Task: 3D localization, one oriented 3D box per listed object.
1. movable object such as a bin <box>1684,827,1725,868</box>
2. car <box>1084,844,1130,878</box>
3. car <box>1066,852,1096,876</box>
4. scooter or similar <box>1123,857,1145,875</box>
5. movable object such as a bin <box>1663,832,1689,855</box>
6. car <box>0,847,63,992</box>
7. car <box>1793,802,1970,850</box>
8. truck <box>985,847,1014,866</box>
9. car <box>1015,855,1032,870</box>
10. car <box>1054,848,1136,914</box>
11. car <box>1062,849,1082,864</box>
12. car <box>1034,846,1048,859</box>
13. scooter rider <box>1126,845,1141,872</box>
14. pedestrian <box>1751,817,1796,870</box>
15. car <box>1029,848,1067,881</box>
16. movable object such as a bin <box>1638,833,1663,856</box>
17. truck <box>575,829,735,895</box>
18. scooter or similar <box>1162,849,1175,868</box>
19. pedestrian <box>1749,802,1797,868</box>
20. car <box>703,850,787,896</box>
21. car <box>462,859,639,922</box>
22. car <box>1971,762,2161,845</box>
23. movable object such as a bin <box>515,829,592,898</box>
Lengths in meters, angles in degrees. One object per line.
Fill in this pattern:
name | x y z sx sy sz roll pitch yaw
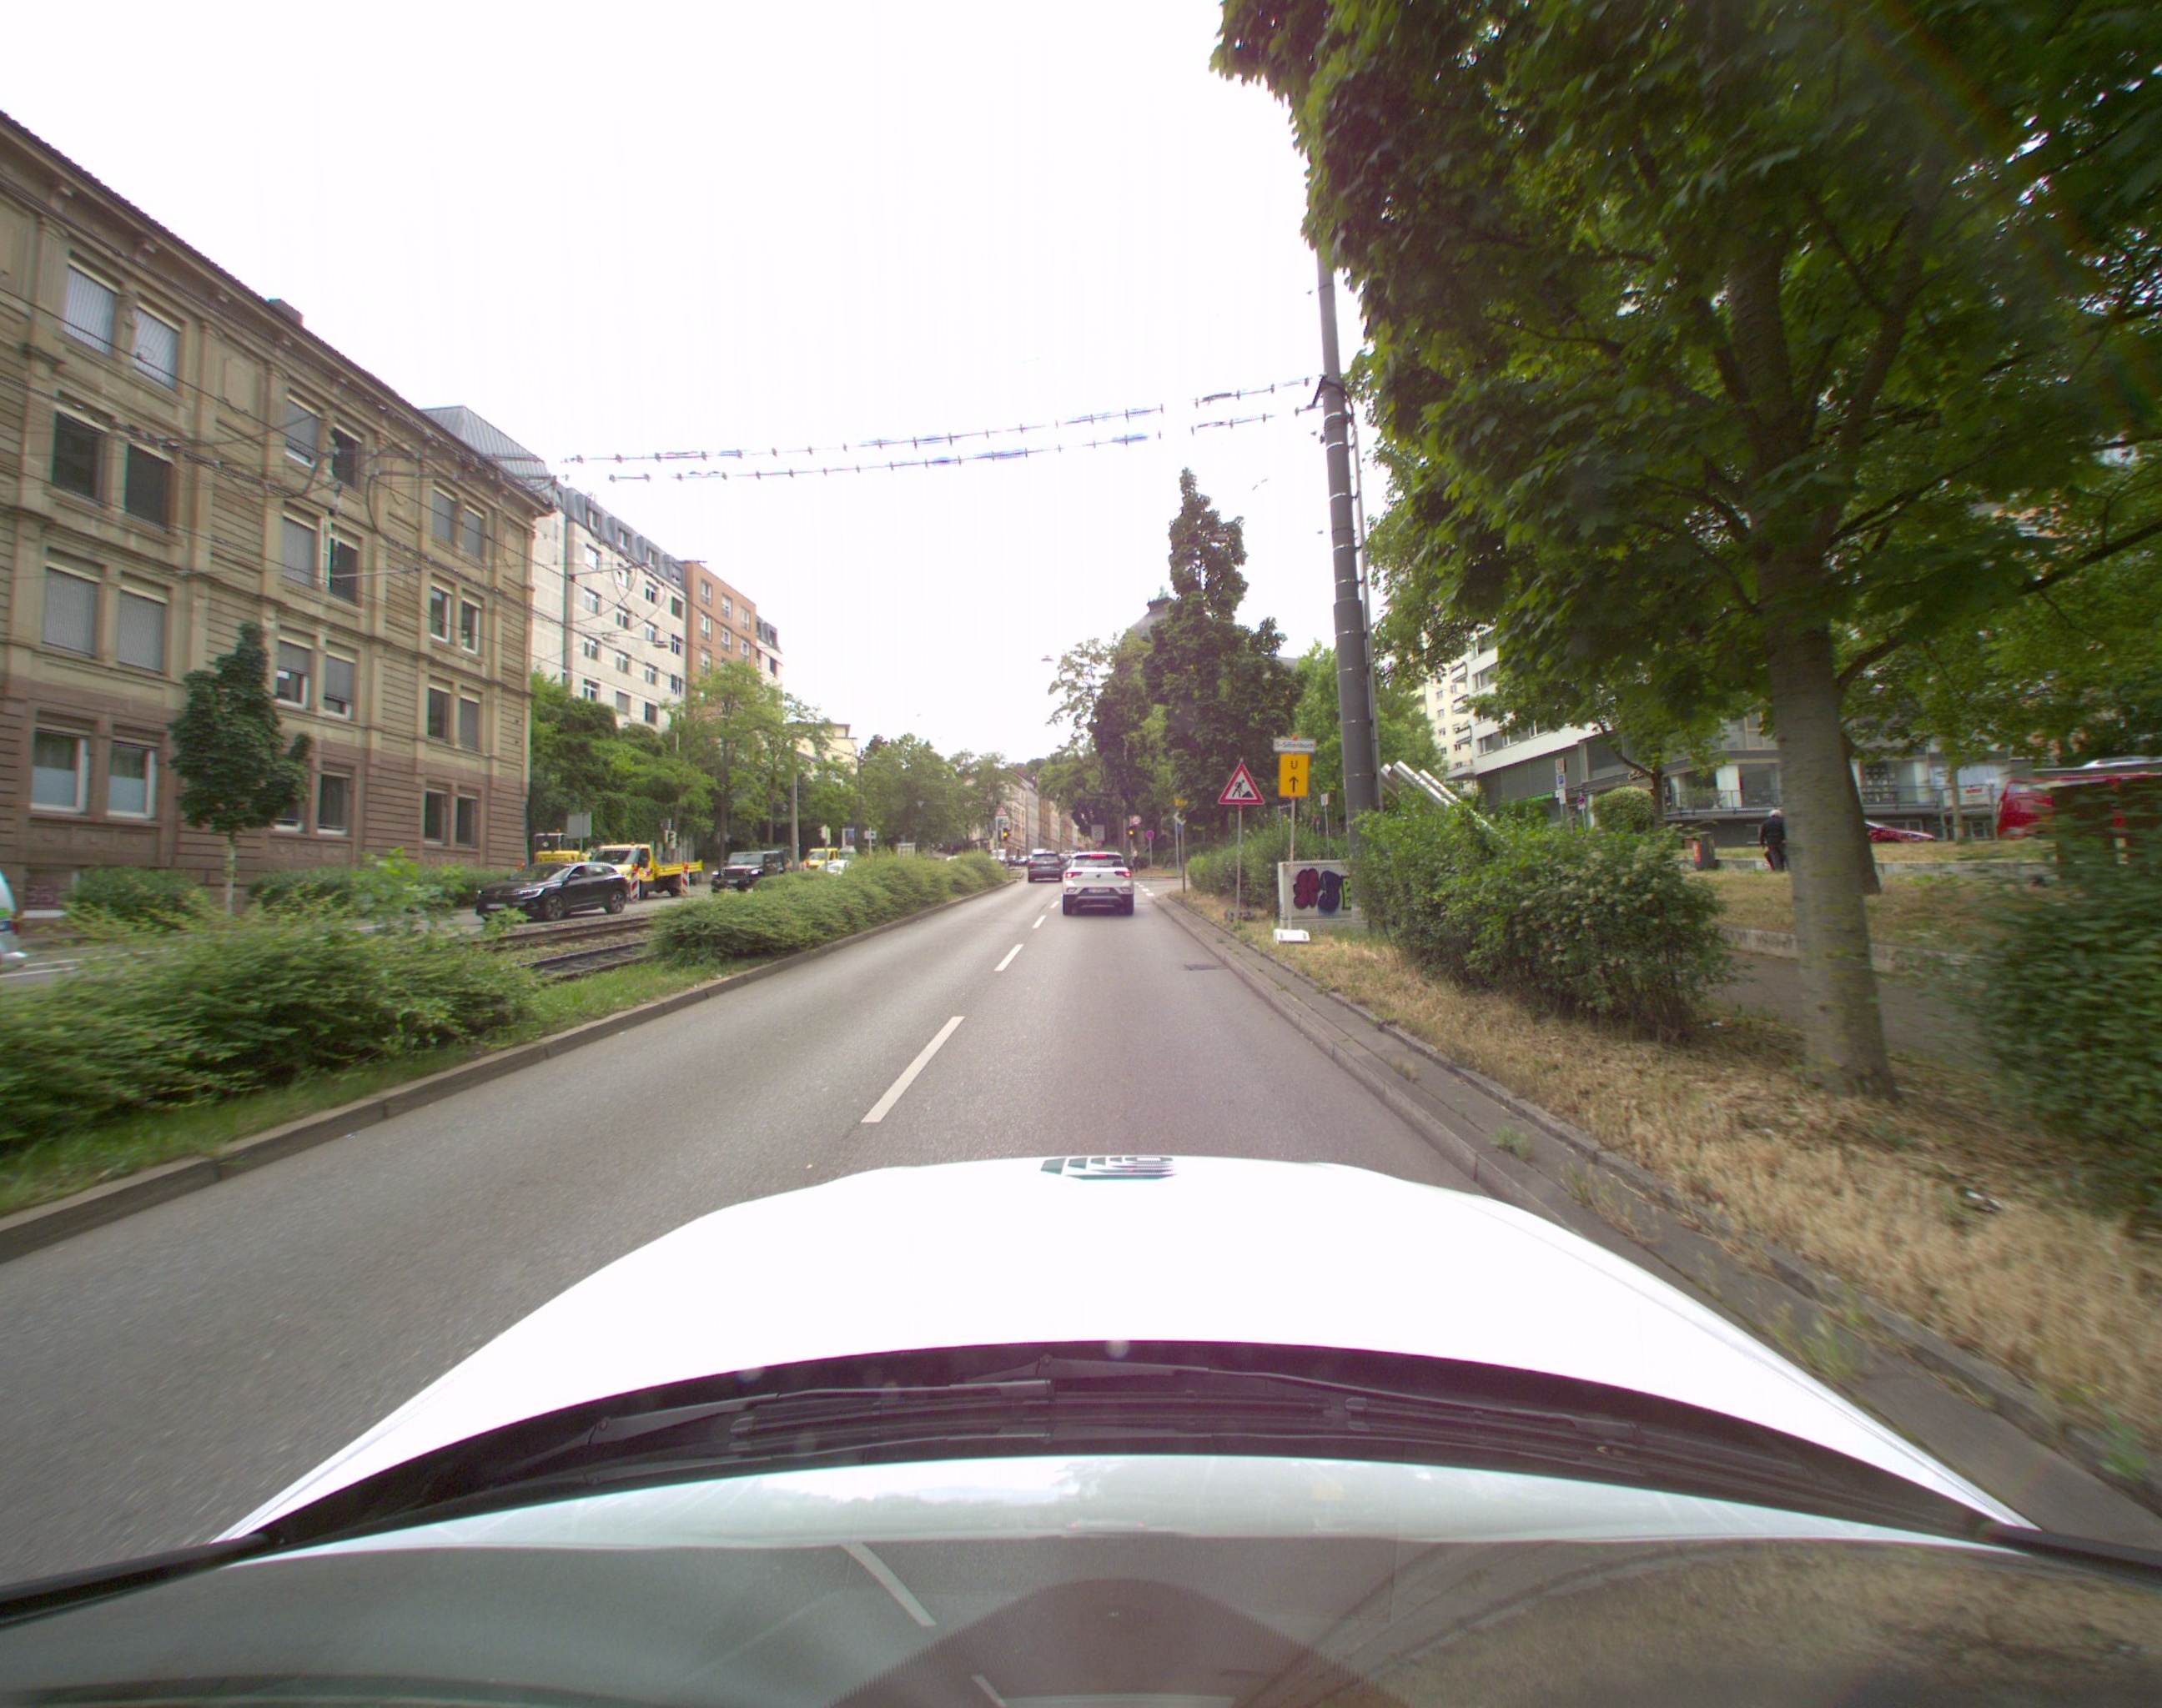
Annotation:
movable object such as a bin | 17.270 -0.169 22.554 0.666 1.082 0.609 1 -3 2
car | 1.282 0.408 41.593 1.900 1.574 3.826 1 -3 -5
car | -0.033 0.758 60.815 1.989 1.623 3.995 -2 -2 -3
scooter or similar | 3.168 0.733 48.995 1.186 0.994 0.530 -2 0 -9
movable object such as a bin | 29.716 -0.514 40.656 0.825 1.103 0.708 -2 0 -22
car | -14.275 0.843 8.366 1.873 1.788 4.516 -3 0 0
car | 26.489 -0.865 27.114 1.622 1.279 3.888 2 -3 -26
truck | -10.287 0.295 103.219 2.409 2.169 6.045 1 1 6
car | -8.149 1.215 116.463 1.986 2.014 4.000 1 -3 2
car | 0.339 0.649 21.348 1.932 1.566 4.046 0 0 0
car | -1.282 0.424 122.747 2.410 2.169 6.041 0 0 5
car | -6.532 -0.310 133.968 1.986 2.013 4.001 -2 0 1
scooter rider | 3.160 0.268 49.000 0.777 1.558 0.530 -2 0 -9
pedestrian | 17.213 -0.257 20.259 0.547 1.301 0.619 -2 0 -1
car | -1.786 0.555 44.824 1.833 1.740 4.000 -1 0 1
movable object such as a bin | 28.867 -0.477 41.279 0.825 1.103 0.708 -2 0 -22
truck | -18.085 0.477 35.273 2.906 2.510 7.154 1 -2 1
scooter or similar | 5.549 0.311 51.666 0.474 1.100 1.364 -3 -3 -9
pedestrian | 16.545 -0.455 19.483 0.547 1.542 0.619 -2 0 -1
car | -14.505 0.808 35.446 1.895 1.876 4.637 0 -1 -3
car | -14.746 0.968 23.003 1.857 1.555 4.442 -1 -1 4
car | 28.749 -1.357 22.704 2.032 2.028 4.940 2 -2 -26
movable object such as a bin | -22.699 0.416 35.110 1.990 2.838 2.026 -2 -1 -5
